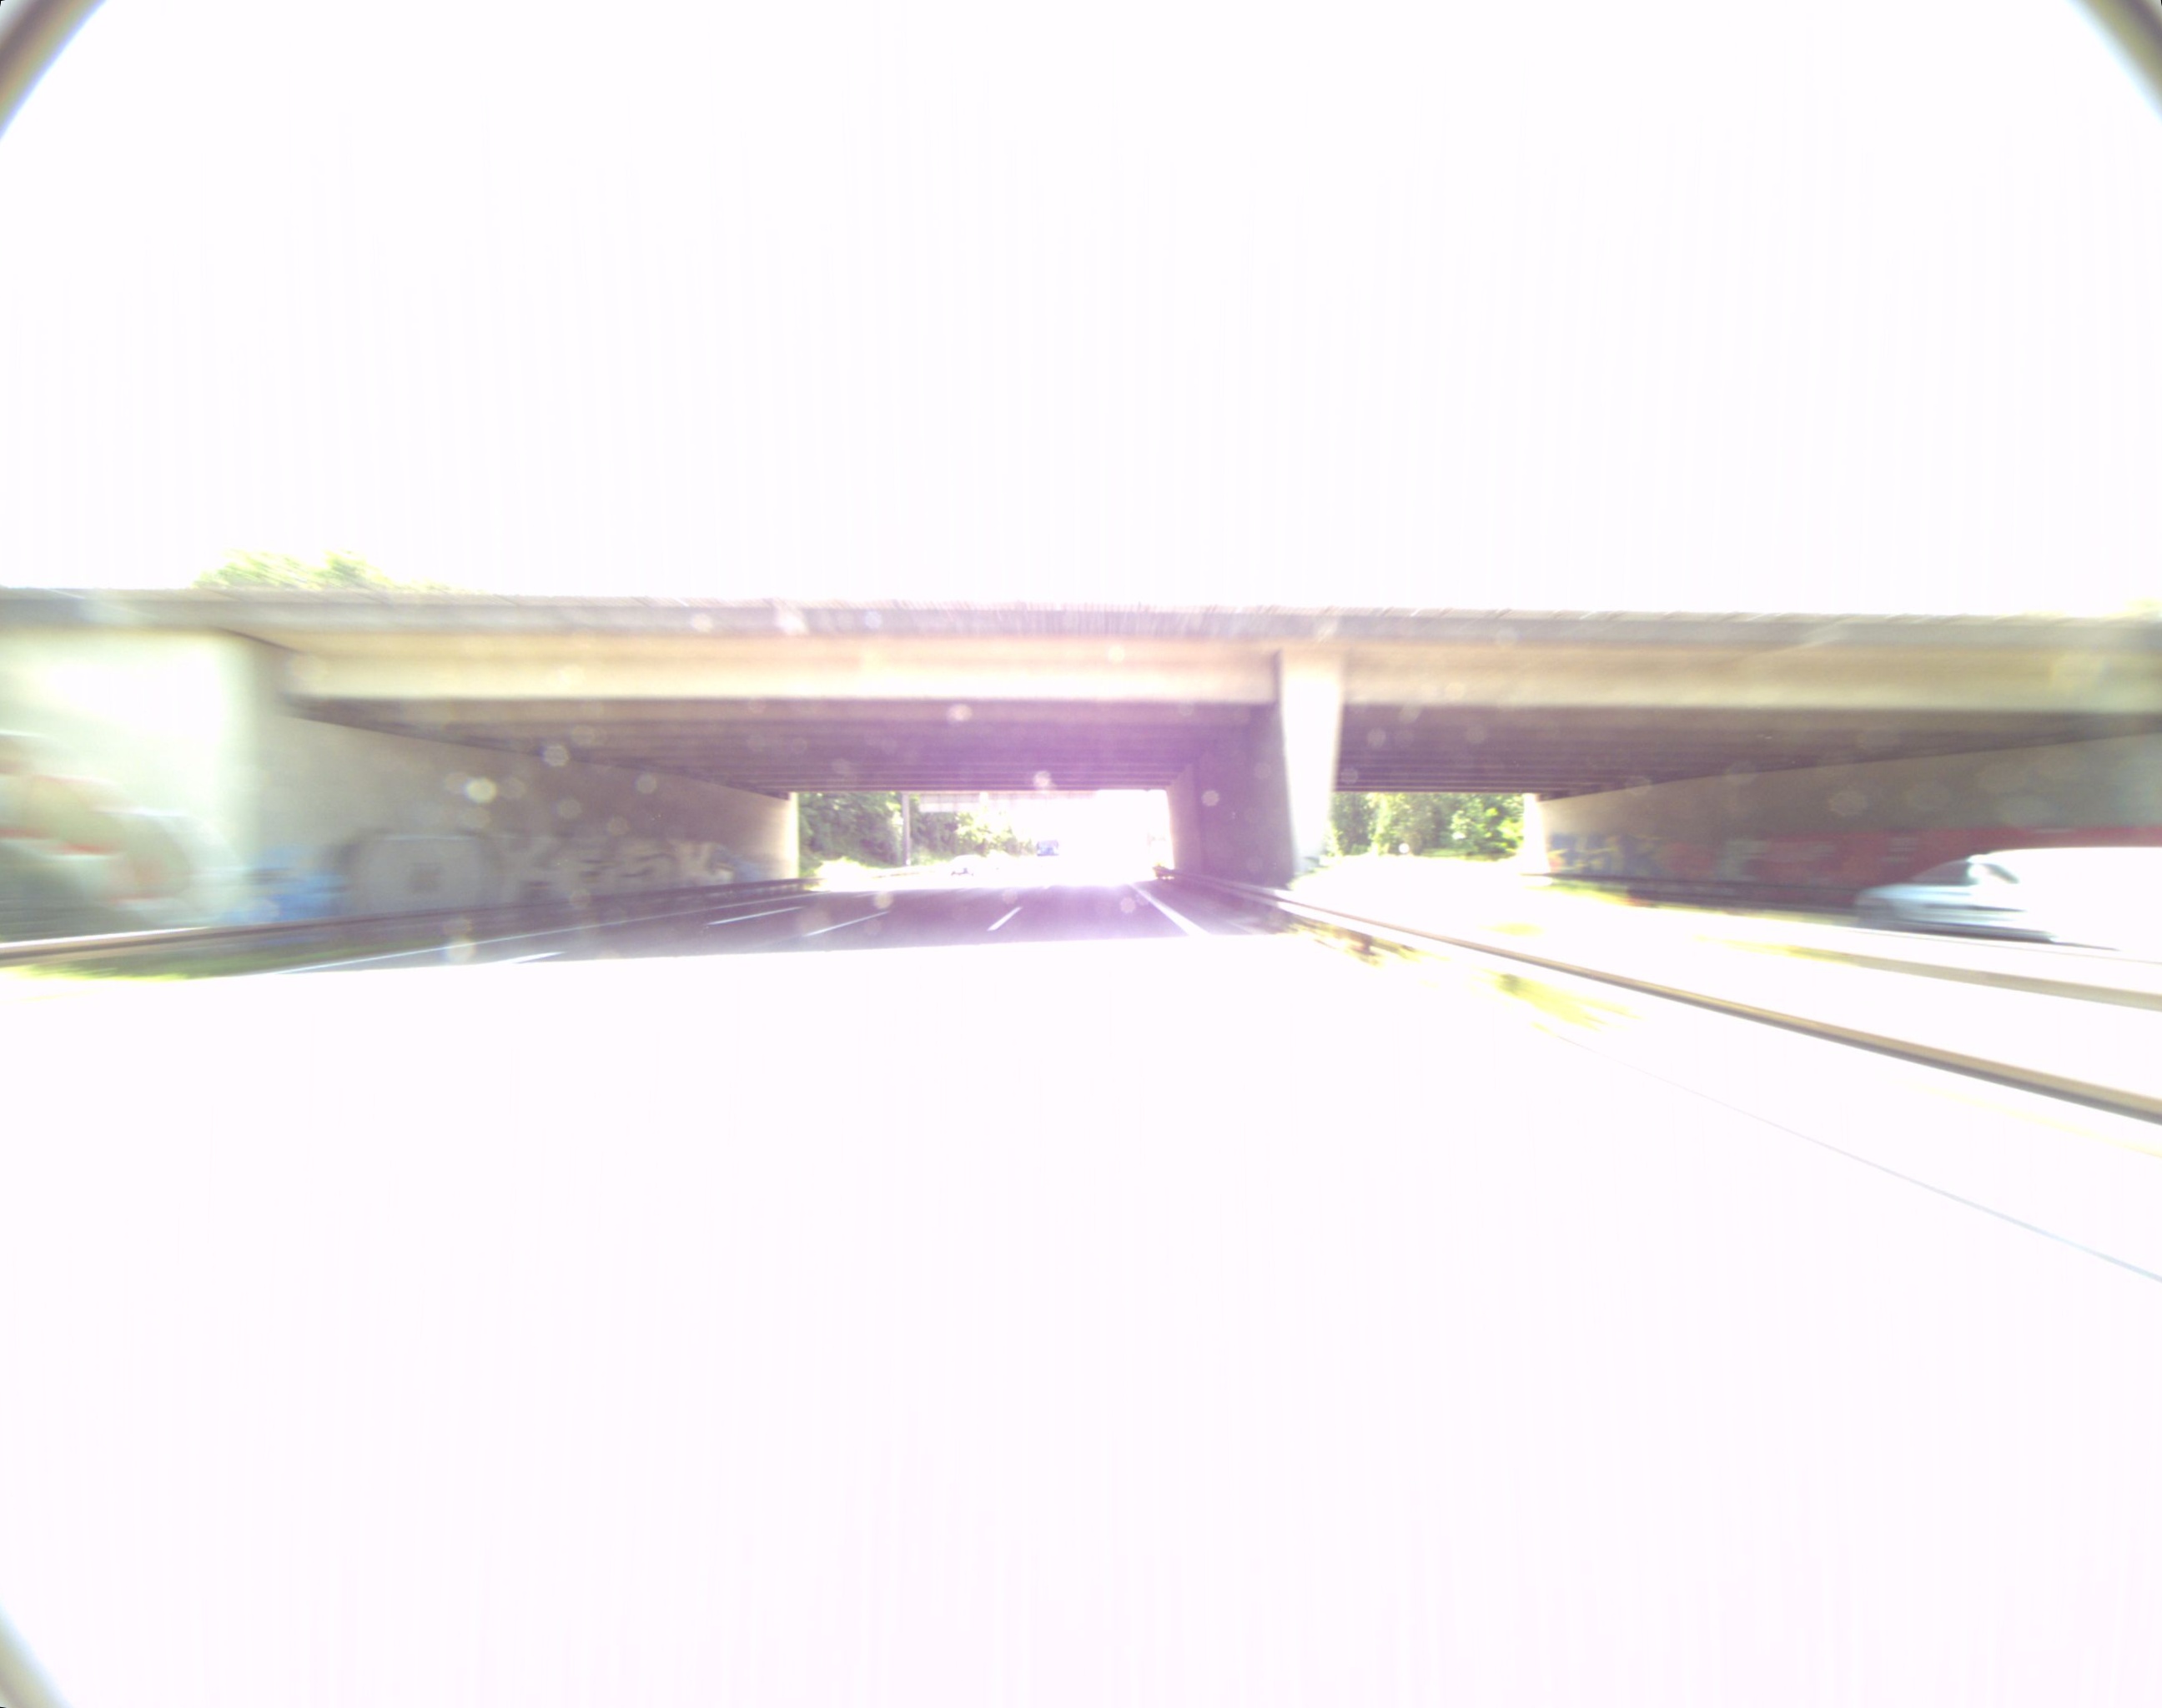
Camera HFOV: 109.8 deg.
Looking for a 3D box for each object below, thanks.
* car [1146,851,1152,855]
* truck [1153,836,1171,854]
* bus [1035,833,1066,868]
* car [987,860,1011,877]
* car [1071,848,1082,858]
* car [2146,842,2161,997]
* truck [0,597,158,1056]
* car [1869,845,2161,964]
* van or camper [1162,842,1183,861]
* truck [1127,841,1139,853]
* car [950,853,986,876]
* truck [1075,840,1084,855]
[{"bbox_3d":[21.992,-0.360,244.503,1.829,1.527,4.010,0,0,3],"label":"car"},{"bbox_3d":[20.475,-2.271,192.511,3.074,4.227,13.959,2,1,0],"label":"truck"},{"bbox_3d":[-3.360,-0.448,87.052,2.617,3.532,13.681,-2,1,1],"label":"bus"},{"bbox_3d":[-7.690,1.358,71.662,1.674,1.439,4.573,-2,1,1],"label":"car"},{"bbox_3d":[-1.231,-0.399,193.734,2.616,2.389,7.122,-2,1,1],"label":"car"},{"bbox_3d":[12.776,0.755,6.166,1.744,1.709,4.639,1,1,1],"label":"car"},{"bbox_3d":[-11.080,-0.132,2.165,2.982,4.013,10.981,-3,1,2],"label":"truck"},{"bbox_3d":[17.228,0.753,13.311,1.744,1.795,4.934,1,1,1],"label":"car"},{"bbox_3d":[15.424,-0.451,128.667,2.599,2.890,7.233,-2,1,1],"label":"van or camper"},{"bbox_3d":[17.343,-2.312,254.246,2.994,3.995,13.934,-2,1,0],"label":"truck"},{"bbox_3d":[-8.227,0.717,55.674,1.875,1.547,4.201,-2,1,1],"label":"car"},{"bbox_3d":[-0.537,-2.211,248.001,2.616,4.638,10.960,-2,1,1],"label":"truck"}]
